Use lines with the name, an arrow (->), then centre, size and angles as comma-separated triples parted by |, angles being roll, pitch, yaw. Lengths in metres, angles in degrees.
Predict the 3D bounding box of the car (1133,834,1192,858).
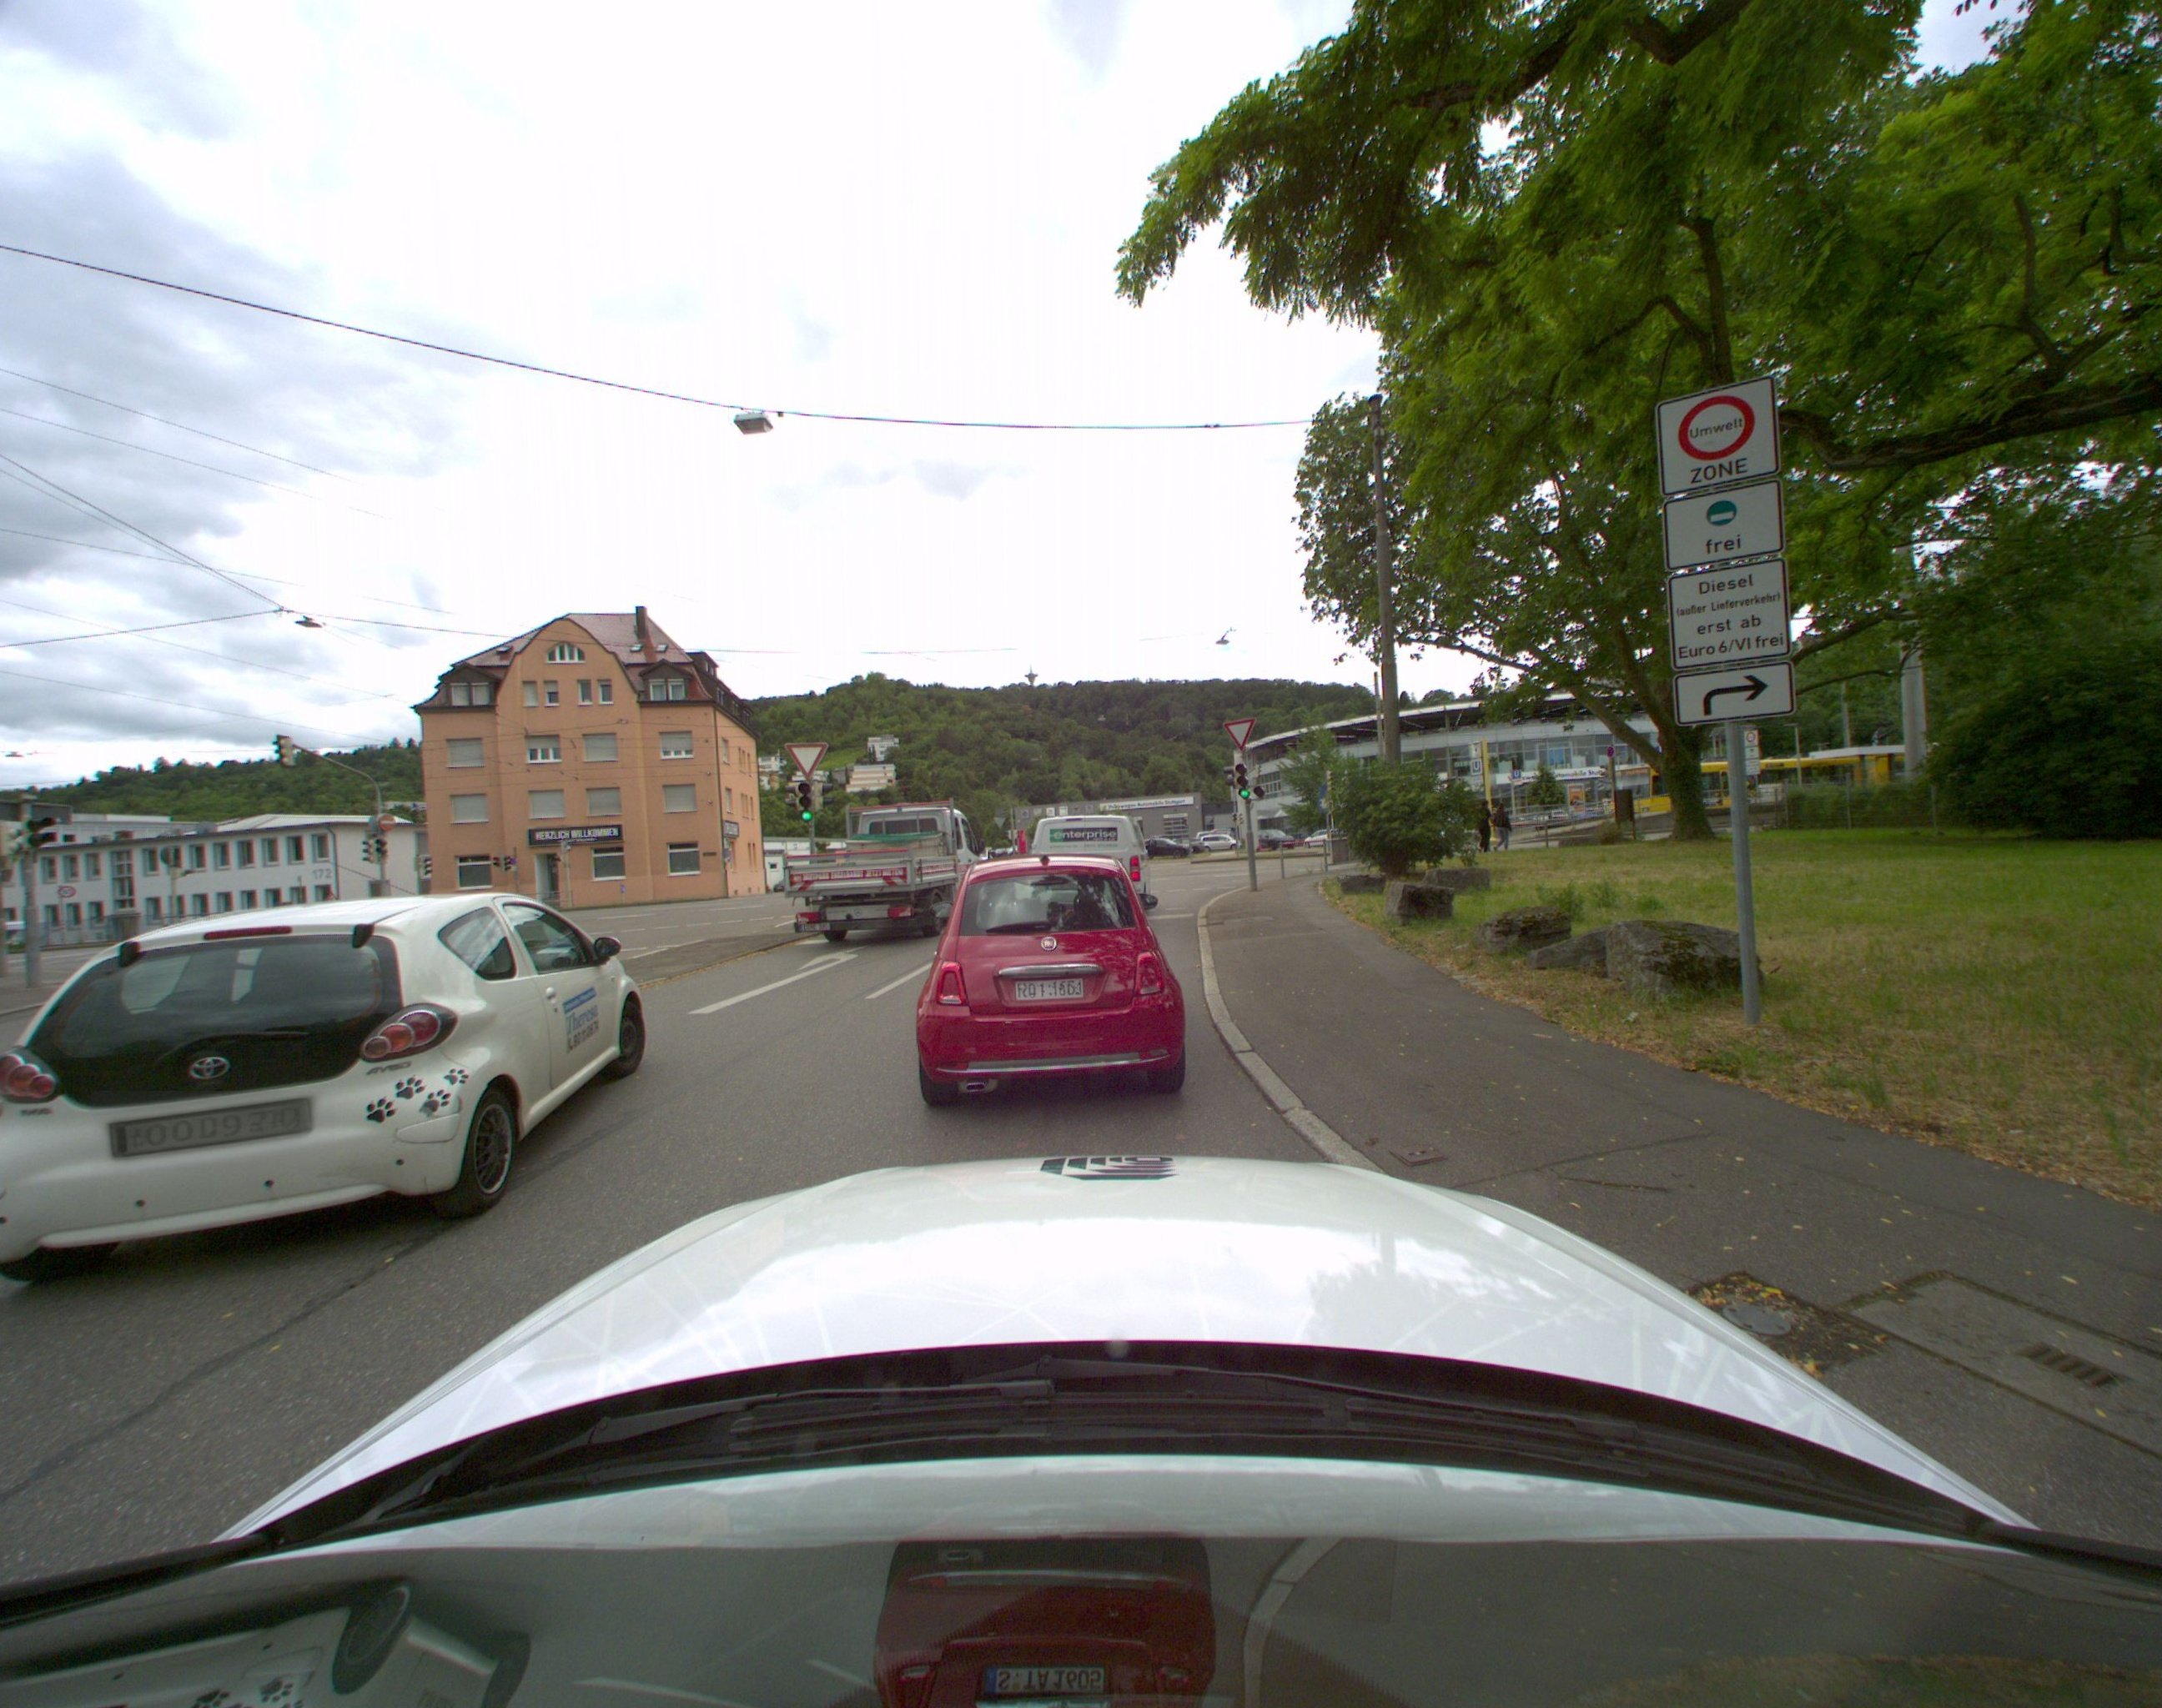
car -> 6.082, -0.626, 60.944 | 3.954, 1.639, 2.011 | -1, 4, 20

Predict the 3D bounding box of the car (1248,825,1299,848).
car -> 15.018, -1.340, 63.778 | 2.001, 1.640, 3.972 | -3, 0, -21

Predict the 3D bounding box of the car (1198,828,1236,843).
car -> 16.536, -2.253, 99.359 | 4.474, 1.729, 2.003 | -1, -1, 5

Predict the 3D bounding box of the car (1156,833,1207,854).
car -> 8.537, -0.887, 69.342 | 3.978, 1.706, 1.998 | 0, -1, -3

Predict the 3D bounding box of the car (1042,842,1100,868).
car -> -0.920, 0.078, 76.232 | 4.970, 2.014, 2.006 | -5, -2, 11

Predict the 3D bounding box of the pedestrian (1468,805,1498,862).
pedestrian -> 13.420, -0.683, 27.188 | 0.671, 1.867, 0.601 | 0, -1, -16

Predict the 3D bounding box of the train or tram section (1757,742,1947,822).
train or tram section -> 46.616, -4.382, 49.167 | 11.903, 3.966, 2.733 | -5, 0, -17

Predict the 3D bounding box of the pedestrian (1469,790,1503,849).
pedestrian -> 13.139, -1.125, 26.450 | 0.671, 1.867, 0.601 | -3, 0, -16

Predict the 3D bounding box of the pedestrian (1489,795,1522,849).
pedestrian -> 13.423, -1.002, 25.773 | 0.671, 1.689, 0.601 | 0, -1, -16

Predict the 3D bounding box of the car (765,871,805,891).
car -> -28.636, 2.597, 78.926 | 1.985, 1.839, 4.515 | 0, -1, 4

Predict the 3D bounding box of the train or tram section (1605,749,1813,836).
train or tram section -> 35.260, -3.488, 45.645 | 11.903, 3.966, 2.733 | -5, 0, -17

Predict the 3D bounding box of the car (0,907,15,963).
car -> -28.744, 2.156, 19.506 | 3.686, 1.391, 1.746 | -4, 1, -6

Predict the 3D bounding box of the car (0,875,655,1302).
car -> -3.779, 0.895, 4.731 | 1.597, 1.420, 3.355 | -3, 0, -16

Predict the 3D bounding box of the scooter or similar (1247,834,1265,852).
scooter or similar -> 13.094, -0.840, 60.856 | 1.196, 1.288, 0.575 | 0, -1, 1

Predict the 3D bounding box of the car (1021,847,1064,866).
car -> -4.231, 0.290, 89.757 | 4.473, 1.997, 2.003 | -1, -1, 5

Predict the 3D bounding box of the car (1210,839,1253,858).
car -> 16.296, -0.601, 88.222 | 4.473, 1.997, 2.003 | -1, -1, 5

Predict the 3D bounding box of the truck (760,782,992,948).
truck -> -3.489, 0.125, 15.407 | 2.302, 2.421, 5.664 | -4, 1, 6

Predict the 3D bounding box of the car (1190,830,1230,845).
car -> 15.032, -1.926, 95.137 | 4.474, 1.729, 2.003 | -1, -1, 5

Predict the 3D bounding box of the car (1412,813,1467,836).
car -> 29.766, -2.444, 67.738 | 1.928, 1.554, 3.972 | -5, 1, -21

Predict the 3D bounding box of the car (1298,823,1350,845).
car -> 19.394, -1.565, 65.160 | 2.001, 1.640, 3.972 | 0, -1, -21

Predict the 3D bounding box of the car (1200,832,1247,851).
car -> 13.958, -1.195, 80.038 | 4.474, 1.729, 2.003 | -1, -1, 5

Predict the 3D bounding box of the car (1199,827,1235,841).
car -> 17.389, -2.564, 104.484 | 4.474, 1.729, 2.003 | -1, -1, 5

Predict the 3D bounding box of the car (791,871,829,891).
car -> -26.264, 2.581, 79.113 | 1.985, 1.839, 4.513 | 0, -1, 3

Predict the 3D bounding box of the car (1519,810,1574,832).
car -> 40.509, -2.826, 70.945 | 1.923, 1.554, 3.983 | -5, 0, -12

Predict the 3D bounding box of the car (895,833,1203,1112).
car -> -0.218, 0.628, 6.498 | 1.693, 1.525, 3.998 | 0, 1, -2

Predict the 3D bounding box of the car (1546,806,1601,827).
car -> 43.191, -3.252, 71.531 | 1.923, 1.554, 3.983 | 0, -1, -12

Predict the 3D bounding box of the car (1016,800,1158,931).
car -> 0.314, 0.109, 15.223 | 1.987, 2.040, 4.844 | -1, 2, 8
